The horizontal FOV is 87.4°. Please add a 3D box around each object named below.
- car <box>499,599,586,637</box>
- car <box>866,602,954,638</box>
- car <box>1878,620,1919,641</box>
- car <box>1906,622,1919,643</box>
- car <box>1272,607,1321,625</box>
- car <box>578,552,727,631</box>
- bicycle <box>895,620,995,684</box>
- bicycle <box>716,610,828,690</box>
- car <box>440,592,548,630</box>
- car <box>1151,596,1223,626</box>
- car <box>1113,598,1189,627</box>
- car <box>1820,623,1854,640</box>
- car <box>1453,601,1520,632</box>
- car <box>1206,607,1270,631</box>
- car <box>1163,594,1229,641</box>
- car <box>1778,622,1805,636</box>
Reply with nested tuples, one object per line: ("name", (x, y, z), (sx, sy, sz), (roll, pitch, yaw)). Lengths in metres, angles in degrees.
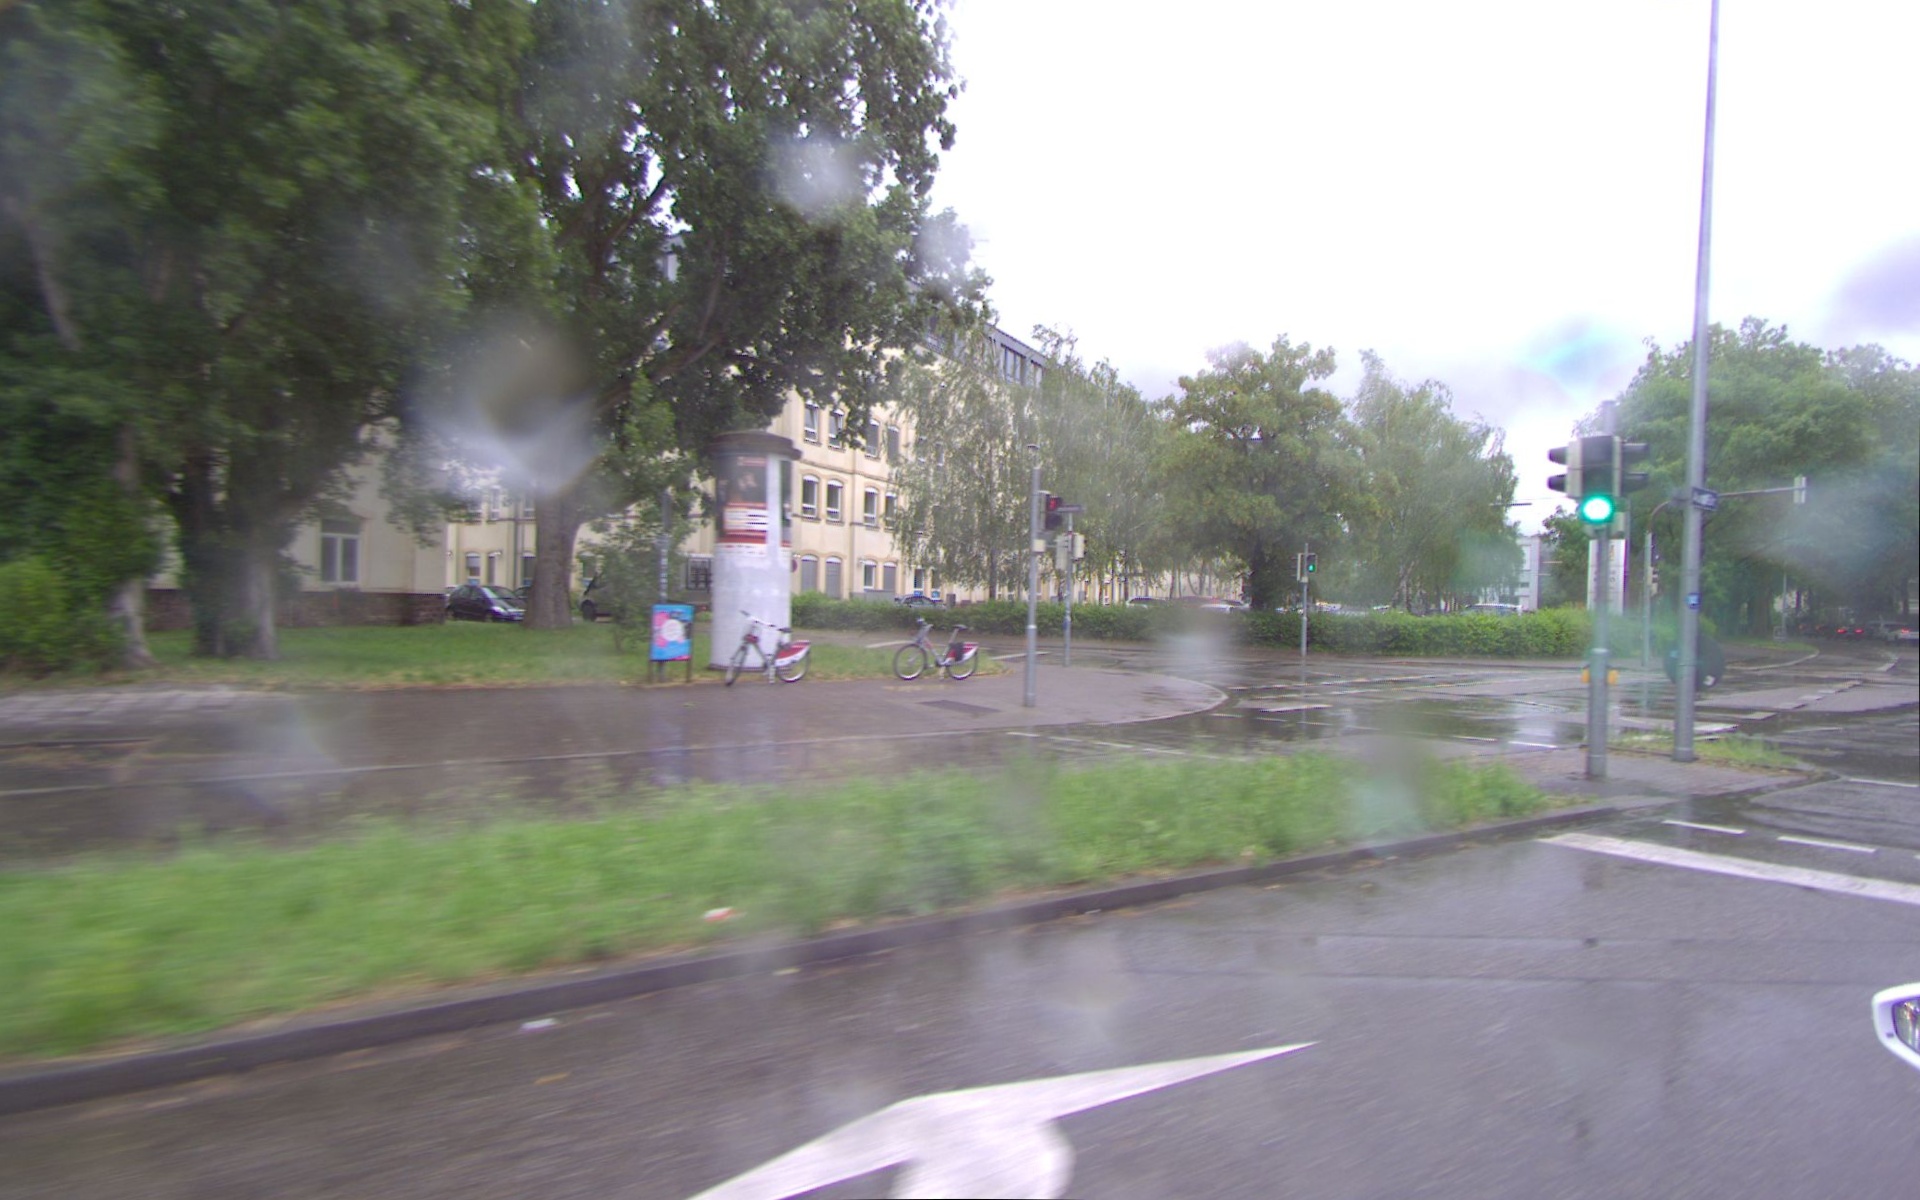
("car", (-20.378, 0.854, 48.988), (3.928, 1.679, 1.890), (2, 1, 29))
("car", (-2.287, 0.913, 46.988), (1.964, 1.520, 4.523), (3, 1, 30))
("car", (68.138, 2.174, 72.731), (1.681, 1.430, 3.637), (-1, -1, 31))
("car", (76.768, 2.614, 78.451), (3.921, 1.623, 1.803), (2, 1, 1))
("car", (31.023, 1.430, 92.577), (3.928, 1.581, 1.996), (1, 0, 30))
("car", (-13.703, -0.412, 44.683), (6.103, 3.236, 2.834), (2, 1, 29))
("bicycle", (-0.260, 0.925, 18.147), (1.778, 1.091, 0.551), (1, 1, -36))
("bicycle", (-3.028, 0.793, 16.225), (1.608, 1.202, 0.692), (1, 1, -36))
("car", (-18.434, 0.402, 39.676), (4.024, 1.286, 1.903), (3, 1, 30))
("car", (14.082, 0.670, 62.329), (3.928, 1.708, 1.996), (1, 0, 30))
("car", (11.072, 0.703, 58.291), (3.928, 1.539, 1.996), (1, 0, 30))
("car", (78.746, 2.817, 90.246), (1.681, 1.430, 3.637), (-1, -1, 31))
("car", (35.533, 1.104, 67.850), (3.927, 1.857, 1.852), (2, 1, 28))
("car", (19.585, 1.293, 70.823), (3.928, 1.580, 2.160), (1, 0, 30))
("car", (9.291, 0.662, 39.272), (1.748, 1.708, 4.022), (1, 0, 24))
("car", (87.046, 3.016, 105.184), (1.681, 1.430, 3.637), (-1, -1, 31))
